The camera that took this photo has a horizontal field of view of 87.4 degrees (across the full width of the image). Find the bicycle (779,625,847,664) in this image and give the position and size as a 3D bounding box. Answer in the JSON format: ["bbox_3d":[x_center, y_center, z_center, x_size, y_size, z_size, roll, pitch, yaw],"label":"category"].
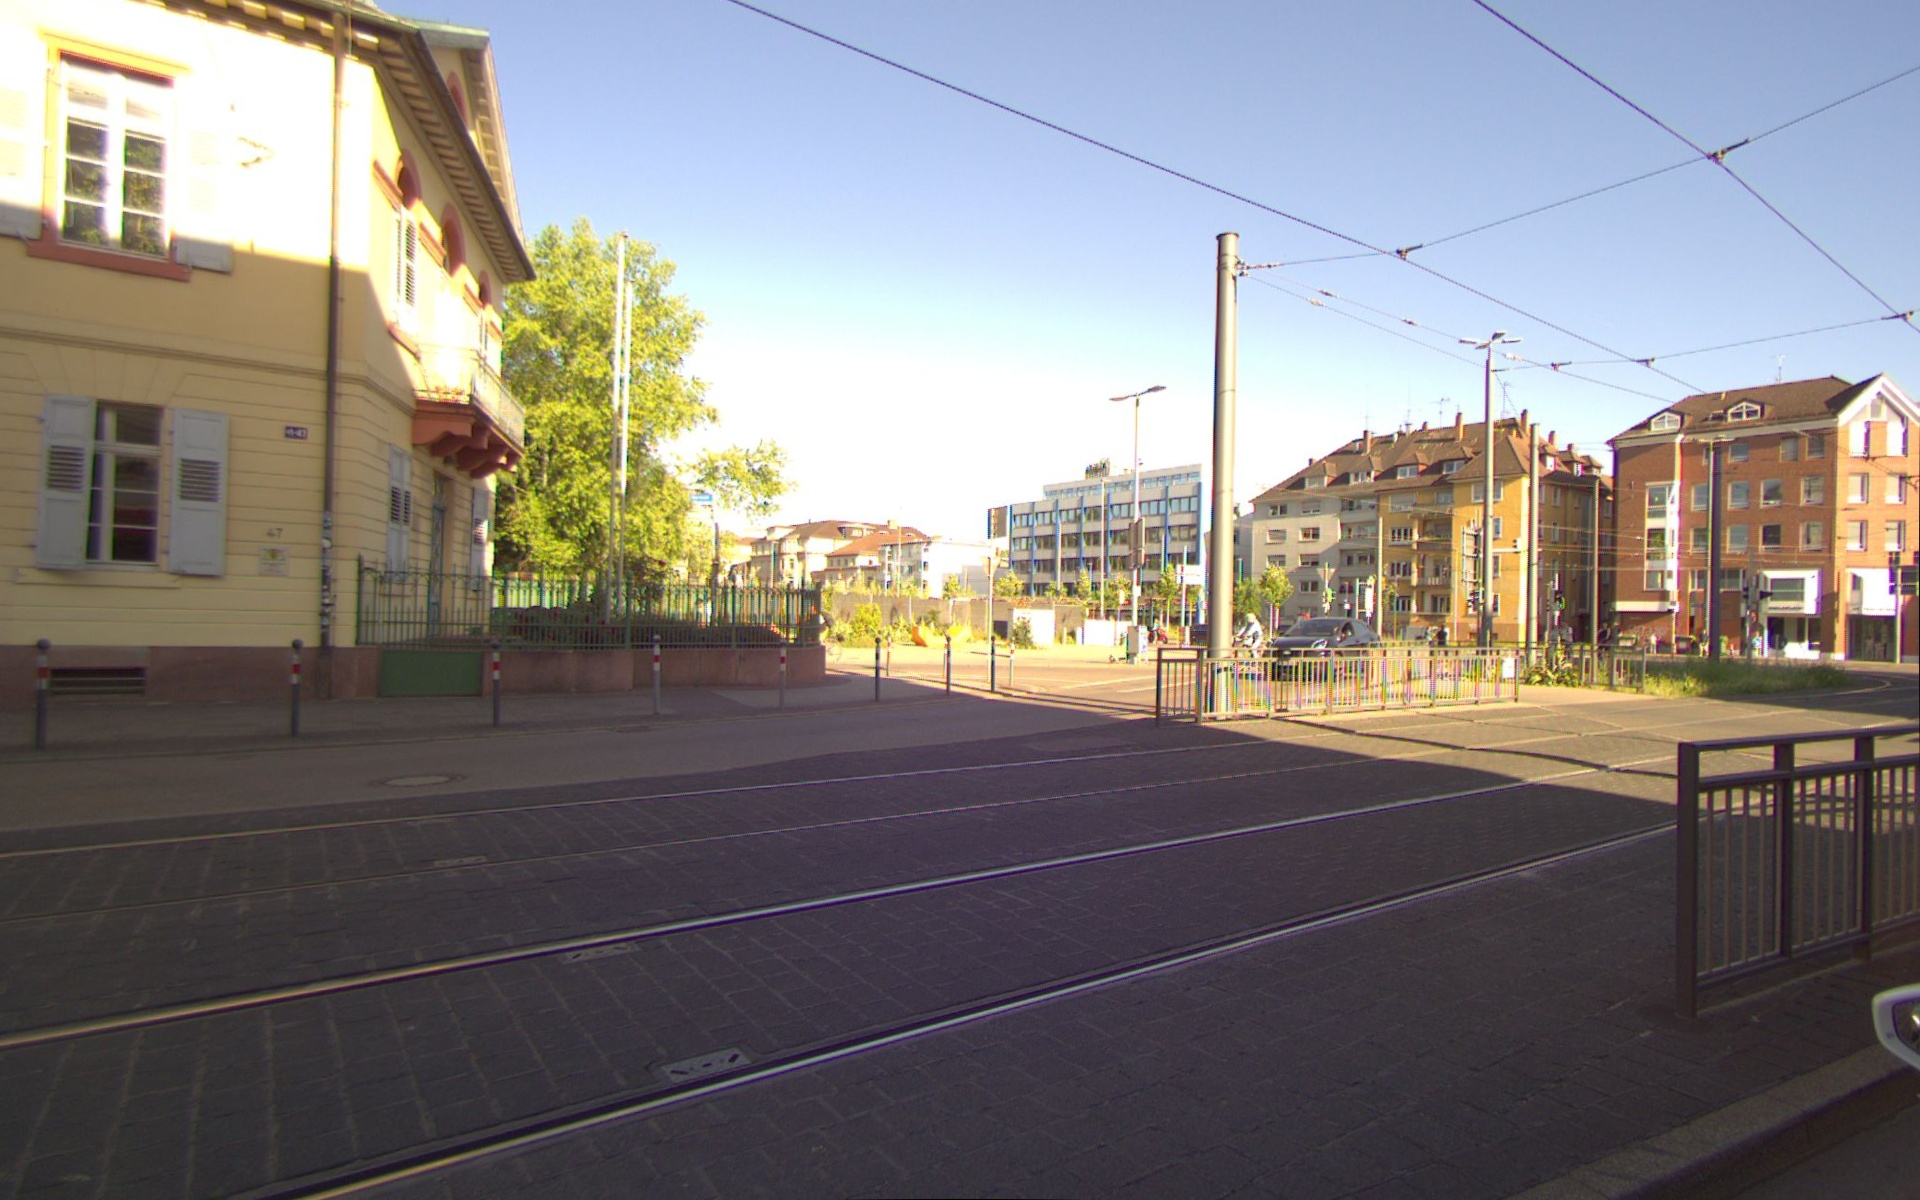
[{"bbox_3d":[-4.162,1.252,28.514,1.863,1.027,0.530,2,0,-10],"label":"bicycle"}]

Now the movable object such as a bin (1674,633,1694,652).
[{"bbox_3d":[56.045,3.301,77.785,1.087,1.456,0.988,2,0,-39],"label":"movable object such as a bin"}]

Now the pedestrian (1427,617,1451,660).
[{"bbox_3d":[22.324,1.771,46.809,0.711,1.959,0.798,2,0,1],"label":"pedestrian"}]

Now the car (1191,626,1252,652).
[{"bbox_3d":[17.023,2.510,65.515,1.561,1.491,3.673,2,-1,-36],"label":"car"}]

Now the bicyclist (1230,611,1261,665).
[{"bbox_3d":[9.126,1.219,32.127,0.758,1.695,0.520,2,0,-19],"label":"bicyclist"}]

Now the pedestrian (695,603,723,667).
[{"bbox_3d":[-7.414,1.024,29.661,0.694,1.841,0.593,2,0,-20],"label":"pedestrian"}]

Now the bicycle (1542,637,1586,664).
[{"bbox_3d":[24.473,2.040,40.681,1.862,1.027,0.647,2,0,-29],"label":"bicycle"}]

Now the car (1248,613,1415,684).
[{"bbox_3d":[9.144,1.181,24.621,4.077,1.581,1.675,2,-1,-32],"label":"car"}]

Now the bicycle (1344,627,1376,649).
[{"bbox_3d":[21.600,2.046,54.210,0.608,1.148,1.481,2,0,-43],"label":"bicycle"}]

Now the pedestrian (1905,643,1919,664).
[{"bbox_3d":[75.978,4.253,79.848,0.848,1.589,0.886,2,0,-8],"label":"pedestrian"}]

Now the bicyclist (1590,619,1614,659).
[{"bbox_3d":[26.842,1.627,41.999,0.800,1.671,0.583,2,0,-40],"label":"bicyclist"}]

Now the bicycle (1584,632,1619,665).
[{"bbox_3d":[26.810,2.025,41.985,2.009,1.308,0.569,2,0,-38],"label":"bicycle"}]

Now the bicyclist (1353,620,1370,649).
[{"bbox_3d":[21.644,1.875,54.173,0.606,1.513,0.608,2,0,-44],"label":"bicyclist"}]

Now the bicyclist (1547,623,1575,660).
[{"bbox_3d":[24.288,1.674,40.607,0.721,1.473,0.661,2,0,-27],"label":"bicyclist"}]

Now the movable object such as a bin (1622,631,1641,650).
[{"bbox_3d":[53.952,3.235,80.666,1.087,1.456,0.988,2,0,-39],"label":"movable object such as a bin"}]

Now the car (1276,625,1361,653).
[{"bbox_3d":[21.298,2.300,59.746,1.768,1.529,4.513,2,-2,-39],"label":"car"}]

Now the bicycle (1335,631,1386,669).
[{"bbox_3d":[13.715,1.723,34.396,1.862,1.230,0.527,2,0,-29],"label":"bicycle"}]

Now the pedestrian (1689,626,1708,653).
[{"bbox_3d":[48.032,2.551,65.324,0.921,1.733,0.690,2,0,-36],"label":"pedestrian"}]

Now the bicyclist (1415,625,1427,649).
[{"bbox_3d":[26.606,2.128,57.973,0.453,1.333,0.397,2,0,44],"label":"bicyclist"}]

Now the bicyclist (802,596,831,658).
[{"bbox_3d":[-4.078,0.763,28.526,0.756,1.695,0.525,2,0,-10],"label":"bicyclist"}]

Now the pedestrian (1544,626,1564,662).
[{"bbox_3d":[29.157,2.158,49.307,0.700,1.711,0.619,0,1,-42],"label":"pedestrian"}]

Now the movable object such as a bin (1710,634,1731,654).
[{"bbox_3d":[57.438,3.307,75.880,1.087,1.456,0.988,2,0,-39],"label":"movable object such as a bin"}]

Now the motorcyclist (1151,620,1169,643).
[{"bbox_3d":[13.808,2.175,69.468,0.775,1.544,0.914,2,0,-37],"label":"motorcyclist"}]

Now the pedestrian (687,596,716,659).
[{"bbox_3d":[-7.776,0.826,30.236,0.728,1.876,0.704,2,0,-19],"label":"pedestrian"}]

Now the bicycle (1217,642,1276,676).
[{"bbox_3d":[9.175,1.886,32.135,1.856,1.027,0.529,2,0,-20],"label":"bicycle"}]

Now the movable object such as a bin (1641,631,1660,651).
[{"bbox_3d":[54.800,3.254,79.695,1.087,1.456,0.988,2,0,-39],"label":"movable object such as a bin"}]

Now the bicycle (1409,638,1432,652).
[{"bbox_3d":[26.554,2.607,57.974,1.160,0.774,0.318,2,0,45],"label":"bicycle"}]

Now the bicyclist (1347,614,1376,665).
[{"bbox_3d":[13.751,1.346,34.396,0.761,1.695,0.518,2,0,-29],"label":"bicyclist"}]

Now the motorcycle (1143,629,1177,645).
[{"bbox_3d":[13.811,2.531,69.456,0.784,0.997,2.341,2,-1,-36],"label":"motorcycle"}]
